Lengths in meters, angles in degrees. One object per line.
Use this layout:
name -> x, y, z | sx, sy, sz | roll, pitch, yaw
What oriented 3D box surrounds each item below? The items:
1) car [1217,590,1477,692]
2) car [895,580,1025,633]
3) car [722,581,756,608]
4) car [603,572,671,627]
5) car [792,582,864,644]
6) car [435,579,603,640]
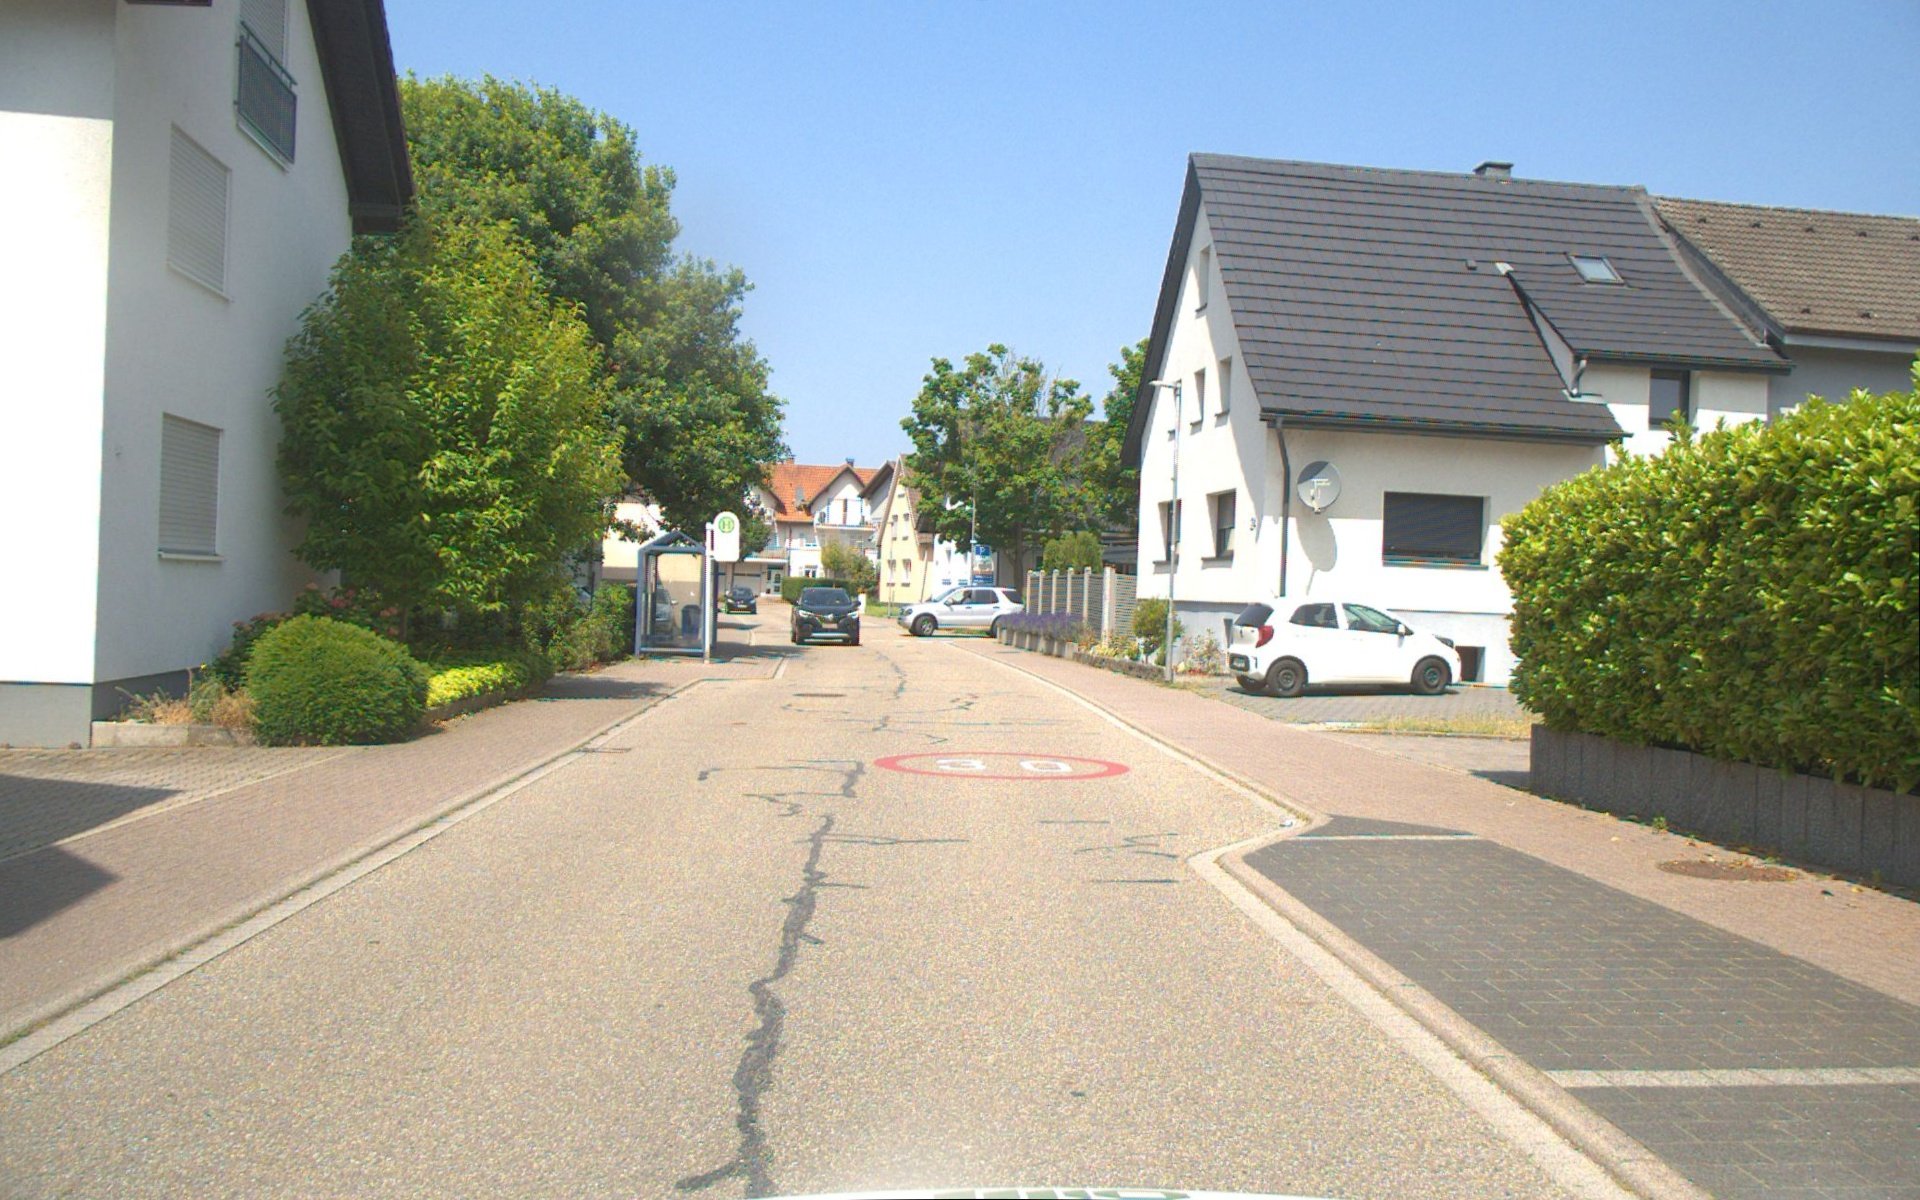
car -> 6.025, 0.615, 25.938 | 3.591, 1.500, 1.761 | 0, 1, -10
car -> -0.018, 0.212, 57.802 | 4.240, 1.798, 1.886 | 0, 0, -12
car -> -12.492, -0.328, 93.381 | 1.598, 1.512, 3.989 | 1, 1, -12
car -> -9.371, -0.043, 48.229 | 1.745, 1.459, 4.047 | 2, 1, -9
car -> -3.827, 0.351, 47.445 | 1.743, 1.652, 4.097 | 1, 0, -9
car -> -11.611, 0.239, 43.780 | 4.081, 1.565, 1.771 | 0, 1, -8
